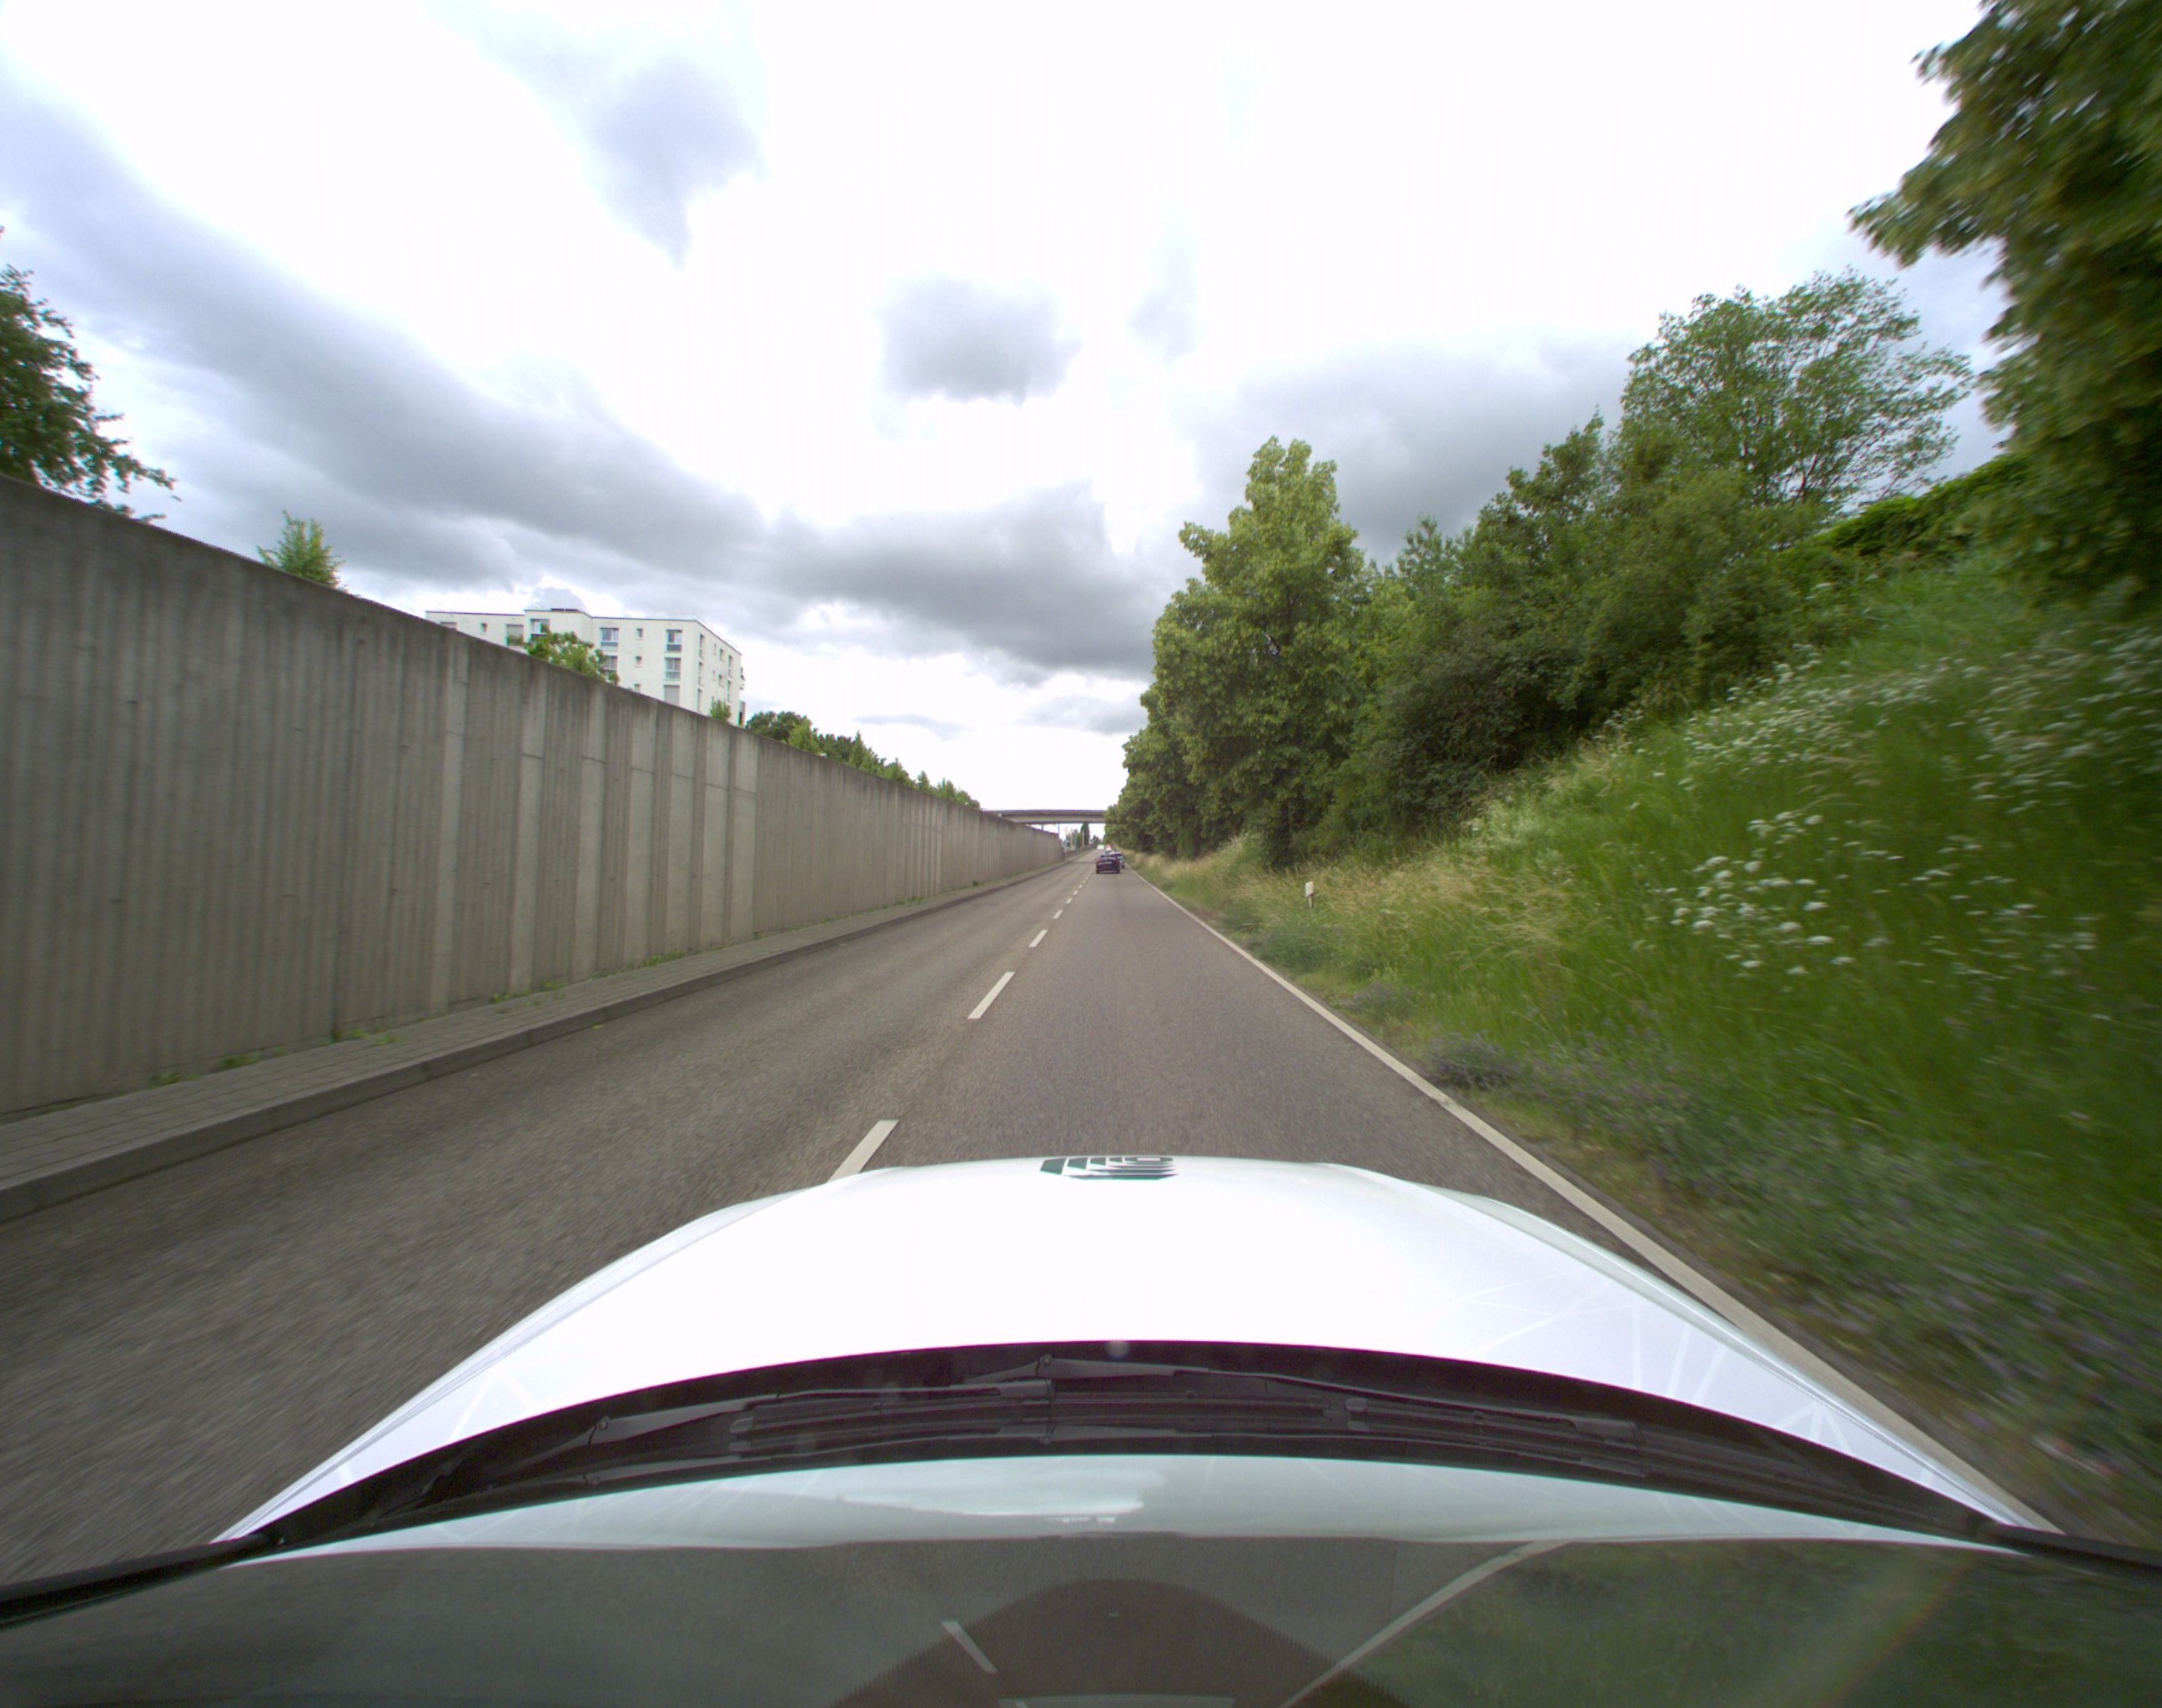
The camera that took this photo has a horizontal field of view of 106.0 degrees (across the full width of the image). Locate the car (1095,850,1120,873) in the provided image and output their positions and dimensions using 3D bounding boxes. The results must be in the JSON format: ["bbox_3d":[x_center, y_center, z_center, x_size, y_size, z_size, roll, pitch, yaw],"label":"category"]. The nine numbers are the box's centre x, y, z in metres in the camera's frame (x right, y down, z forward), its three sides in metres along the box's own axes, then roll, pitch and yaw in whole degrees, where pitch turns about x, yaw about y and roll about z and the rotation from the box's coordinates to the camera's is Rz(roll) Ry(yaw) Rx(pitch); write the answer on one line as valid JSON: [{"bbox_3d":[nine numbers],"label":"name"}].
[{"bbox_3d":[1.946,0.514,60.296,1.748,1.523,4.038,-2,1,1],"label":"car"}]

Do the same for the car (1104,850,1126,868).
[{"bbox_3d":[3.099,0.418,74.885,1.749,1.523,4.036,-2,0,0],"label":"car"}]

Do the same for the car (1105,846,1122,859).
[{"bbox_3d":[3.866,-0.165,97.376,1.860,1.490,4.256,3,0,0],"label":"car"}]
